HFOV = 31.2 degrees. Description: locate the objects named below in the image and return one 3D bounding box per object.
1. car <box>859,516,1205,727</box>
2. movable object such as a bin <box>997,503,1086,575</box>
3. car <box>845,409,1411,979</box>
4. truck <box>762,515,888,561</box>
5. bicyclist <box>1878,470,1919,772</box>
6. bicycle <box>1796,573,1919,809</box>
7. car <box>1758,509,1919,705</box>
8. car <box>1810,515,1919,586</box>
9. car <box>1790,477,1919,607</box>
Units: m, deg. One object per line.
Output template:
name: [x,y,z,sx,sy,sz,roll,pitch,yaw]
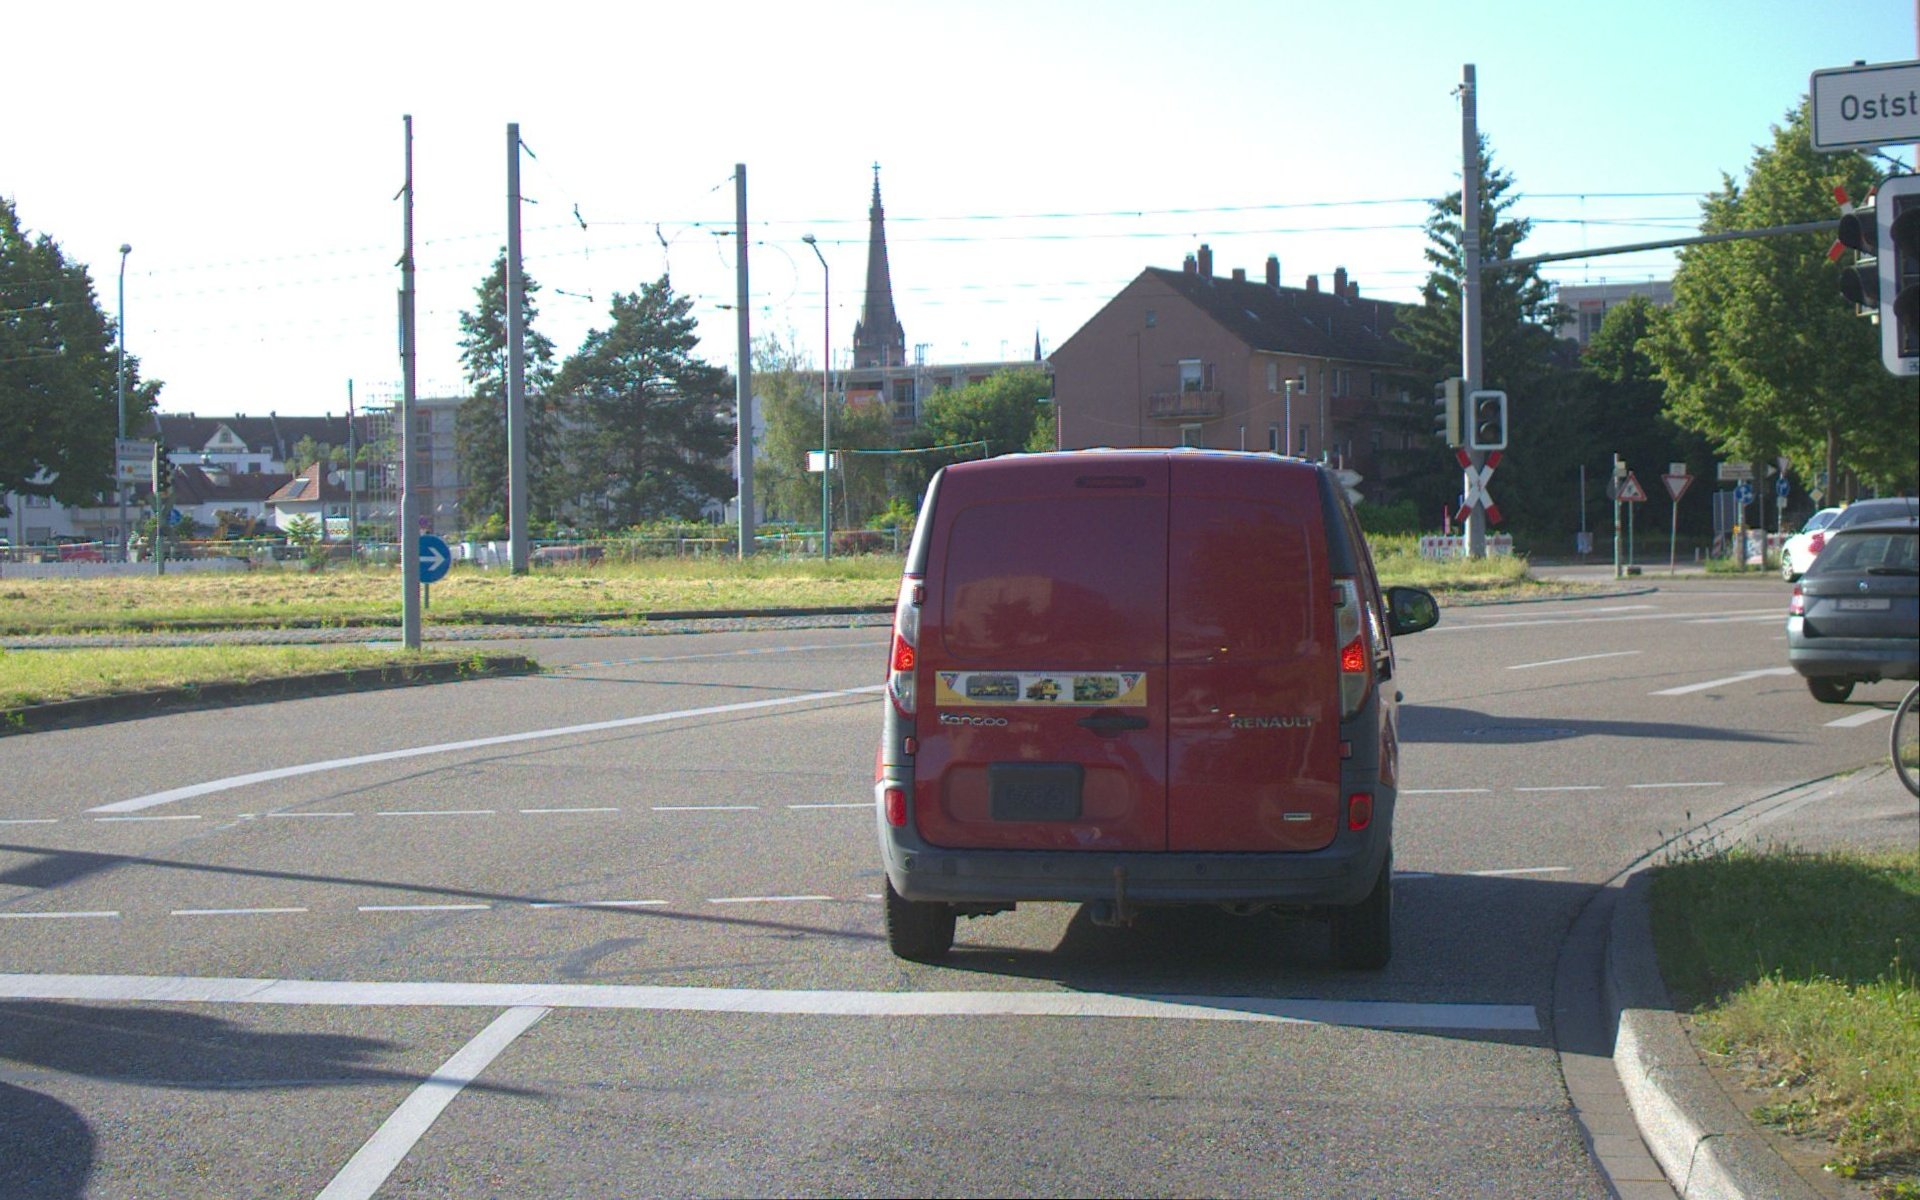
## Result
car: [0.628,0.119,26.165,1.804,1.456,3.807,1,1,14]
movable object such as a bin: [3.226,-2.412,136.924,2.418,2.764,4.001,1,0,-16]
car: [0.747,0.261,12.992,1.803,1.807,3.809,1,1,6]
truck: [-6.098,-2.762,154.369,2.165,2.007,6.434,1,0,-39]
bicyclist: [5.495,0.089,17.782,1.084,1.556,0.876,-2,0,-23]
bicycle: [5.525,0.417,17.798,2.209,1.151,0.876,-2,0,-23]
car: [7.961,-0.005,26.949,1.718,1.431,4.143,0,2,38]
car: [21.515,-1.130,77.584,1.993,1.534,4.408,-2,2,-31]
car: [12.051,-0.767,43.497,1.996,1.569,4.402,0,2,28]
